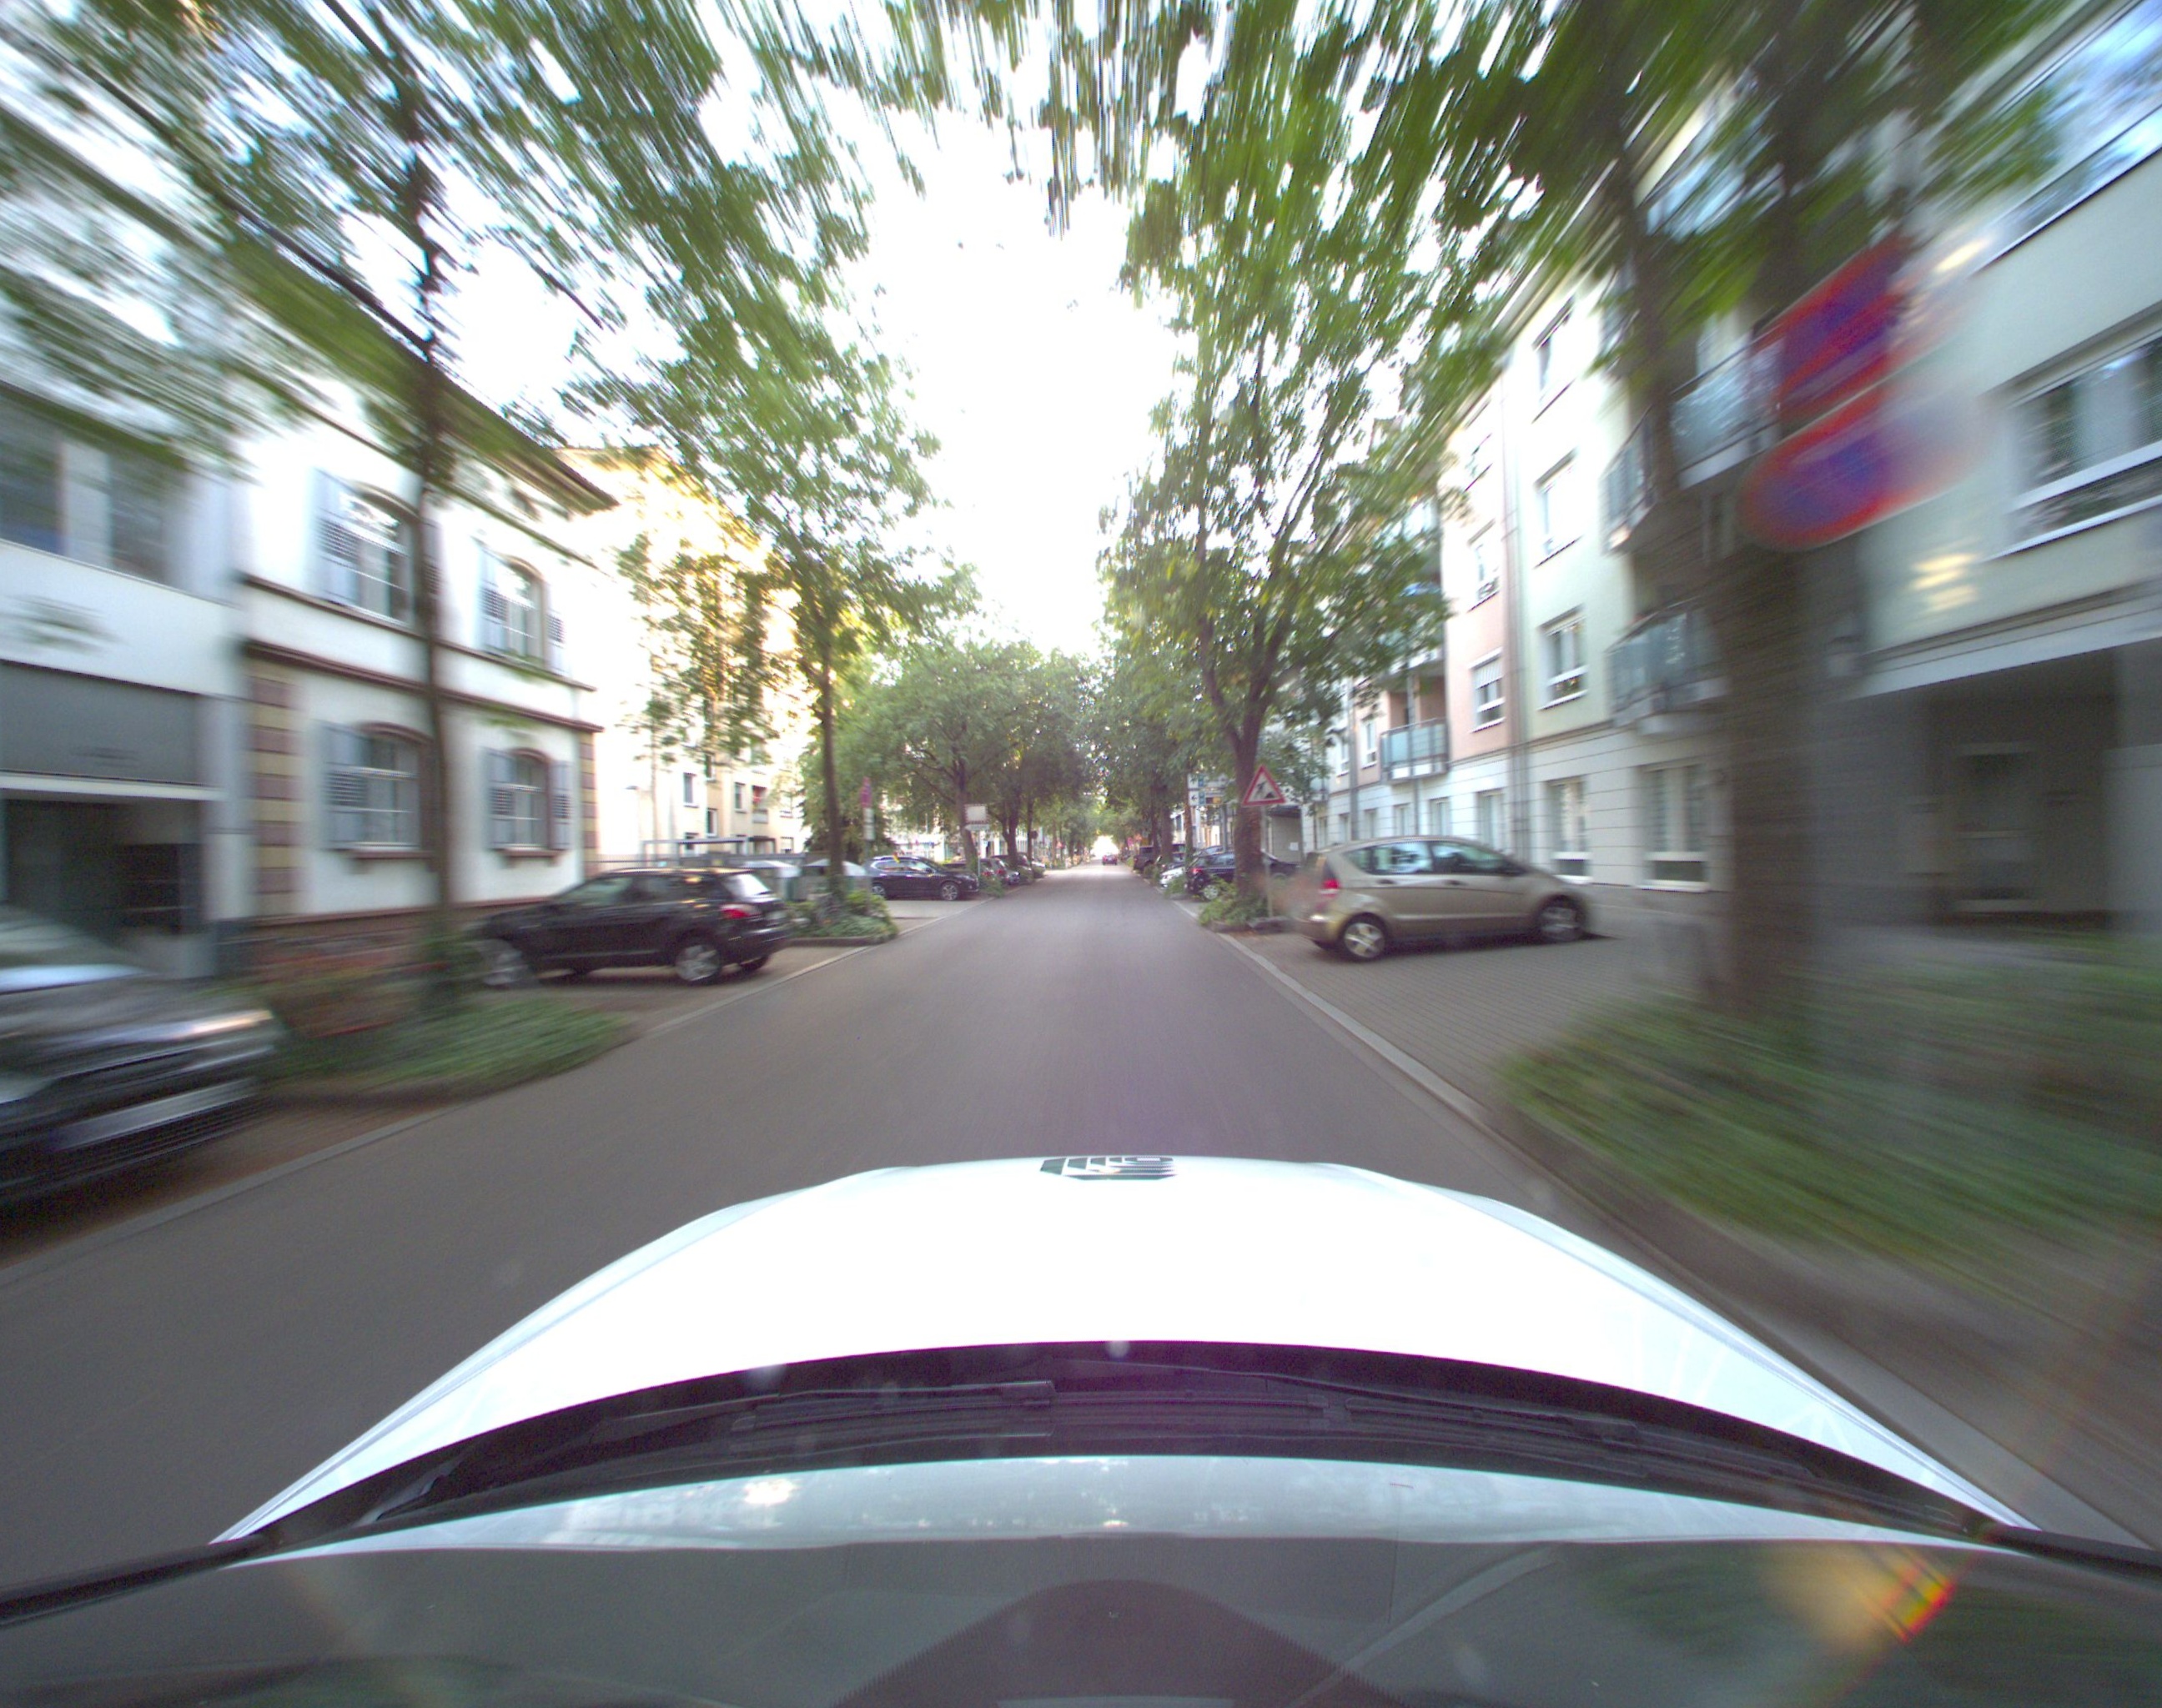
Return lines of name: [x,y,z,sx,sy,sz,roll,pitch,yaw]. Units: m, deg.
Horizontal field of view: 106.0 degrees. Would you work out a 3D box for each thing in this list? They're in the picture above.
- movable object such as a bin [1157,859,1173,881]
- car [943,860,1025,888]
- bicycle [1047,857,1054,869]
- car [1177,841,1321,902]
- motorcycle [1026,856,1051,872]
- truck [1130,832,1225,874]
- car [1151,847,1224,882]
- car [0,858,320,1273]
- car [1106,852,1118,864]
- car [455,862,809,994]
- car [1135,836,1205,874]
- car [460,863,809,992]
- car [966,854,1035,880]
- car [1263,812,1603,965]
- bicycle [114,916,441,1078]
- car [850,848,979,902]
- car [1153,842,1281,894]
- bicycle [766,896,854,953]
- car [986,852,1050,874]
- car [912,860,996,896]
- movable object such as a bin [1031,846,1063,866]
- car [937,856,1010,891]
movable object such as a bin: [4.383,0.831,42.451,0.772,1.068,0.589,-2,0,1]
car: [-5.115,1.041,43.244,4.087,1.379,1.746,-1,0,-1]
bicycle: [-3.087,0.908,82.256,0.599,1.118,1.800,-2,0,2]
car: [5.163,0.536,25.416,3.978,1.474,1.912,-5,0,-3]
motorcycle: [-4.159,0.955,79.324,2.391,1.440,0.792,-2,0,-38]
truck: [6.386,-0.062,54.398,5.982,2.133,2.262,-6,0,1]
car: [5.853,0.586,45.023,3.653,1.548,1.780,-5,-2,-1]
car: [-6.691,0.962,3.821,4.524,1.682,1.620,-3,0,-2]
car: [3.929,0.526,104.530,1.495,1.416,3.715,-2,0,2]
car: [-6.212,0.985,11.646,3.975,1.588,1.827,-2,0,-1]
car: [6.249,0.063,57.438,4.603,2.133,2.037,-6,0,1]
car: [-6.237,0.986,11.704,3.973,1.591,1.789,-1,0,1]
car: [-5.365,0.845,54.613,4.382,1.684,2.063,0,0,-1]
car: [4.720,0.445,11.397,3.848,1.667,1.926,-4,0,1]
bicycle: [-5.912,1.037,6.042,1.895,1.025,0.479,-3,0,0]
car: [-6.253,0.782,30.976,4.402,1.892,2.000,-1,0,1]
car: [5.180,0.533,31.413,4.557,1.552,1.773,-5,0,0]
bicycle: [-5.216,1.340,15.691,1.562,0.937,0.481,-2,0,-22]
car: [-4.582,0.675,59.574,4.481,1.581,2.056,0,-1,2]
car: [-5.547,1.048,35.922,3.394,1.442,1.594,-2,0,-1]
movable object such as a bin: [-4.017,0.244,97.454,3.654,2.333,2.583,-2,0,0]
car: [-5.385,0.940,41.052,3.394,1.609,1.760,-2,0,-1]
